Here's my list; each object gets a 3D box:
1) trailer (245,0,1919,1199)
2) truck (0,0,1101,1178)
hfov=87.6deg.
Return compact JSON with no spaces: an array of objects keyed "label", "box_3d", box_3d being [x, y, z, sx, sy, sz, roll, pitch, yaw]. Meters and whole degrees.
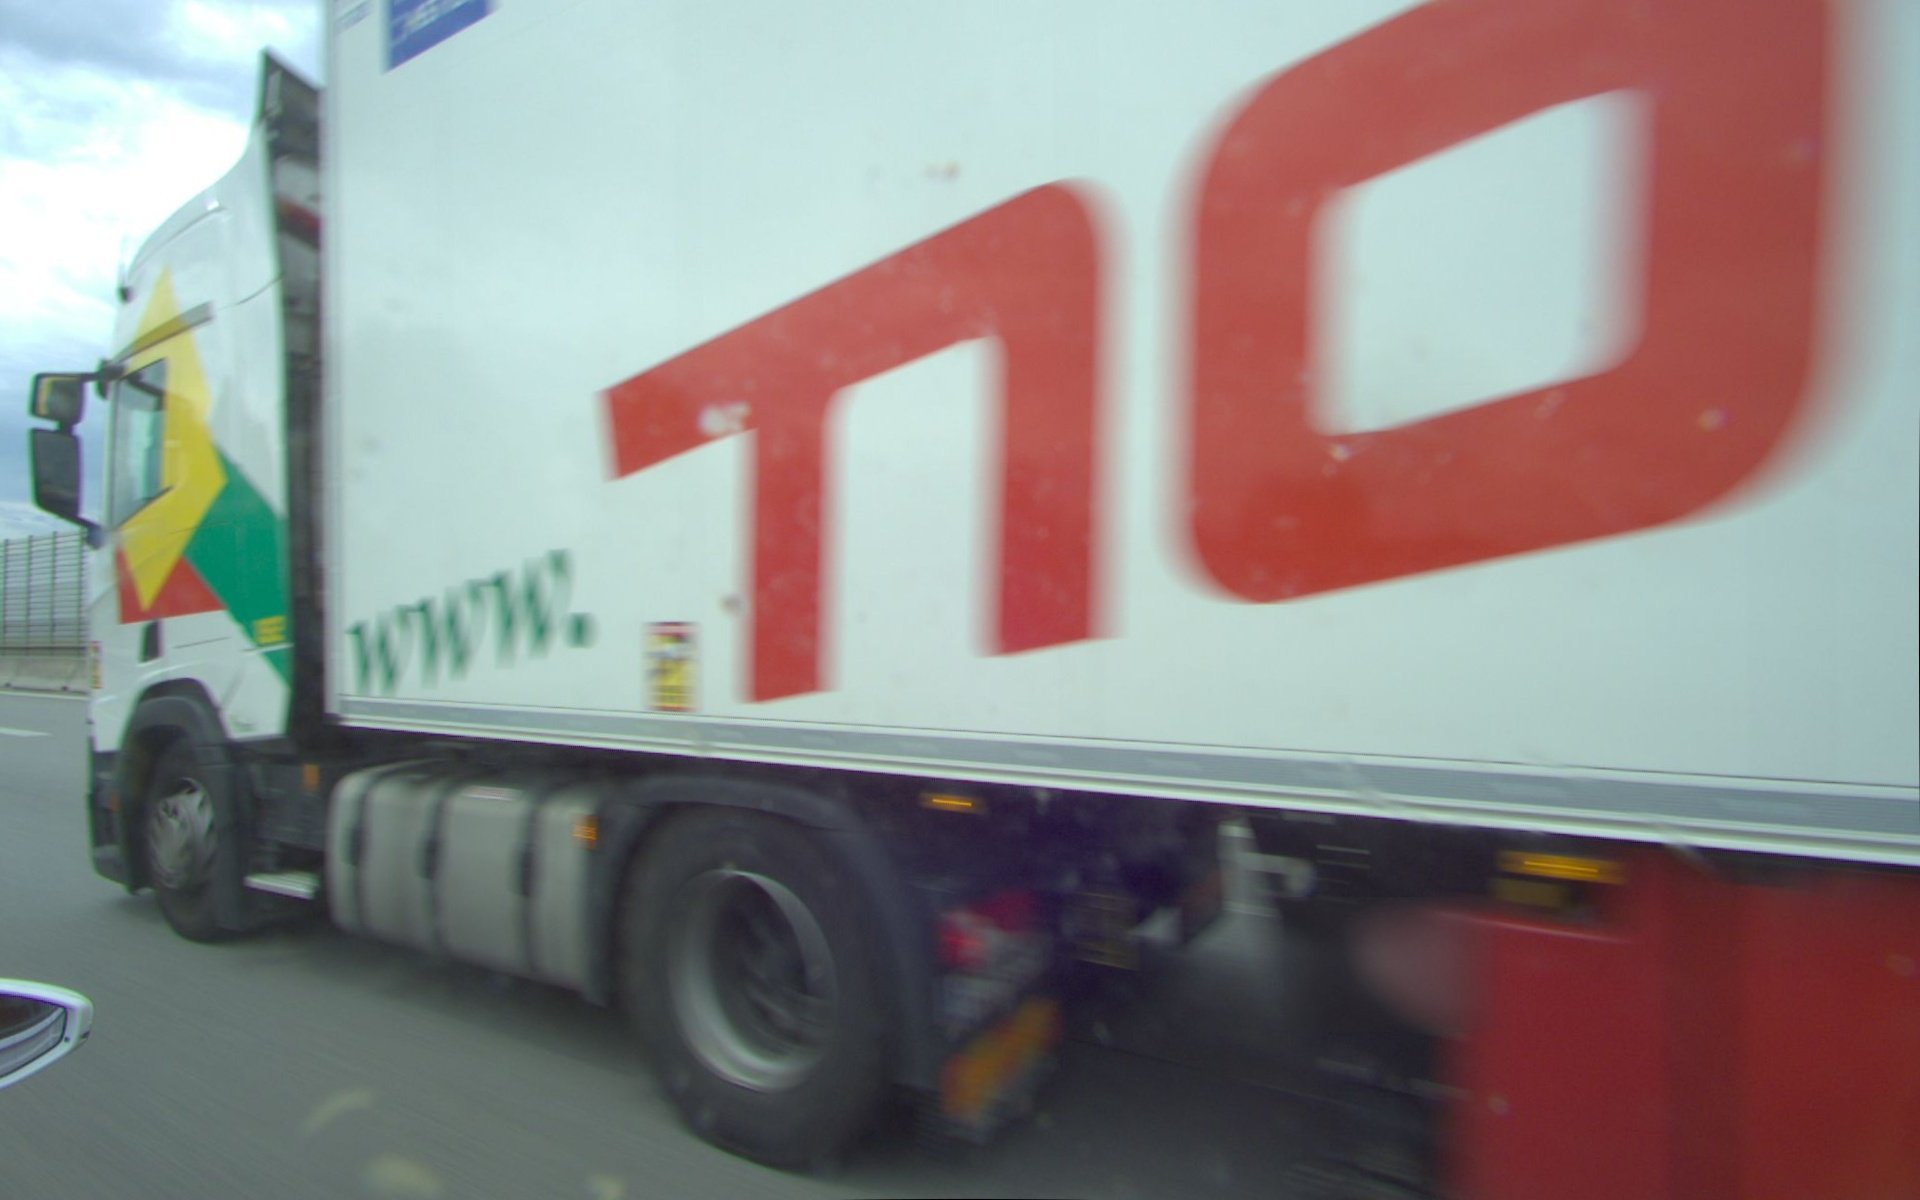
[{"label":"trailer","box_3d":[3.910,-0.667,1.261,13.901,4.228,2.788,-1,-1,32]},{"label":"truck","box_3d":[-2.380,-0.433,5.311,5.597,4.011,2.751,-1,-1,33]}]
